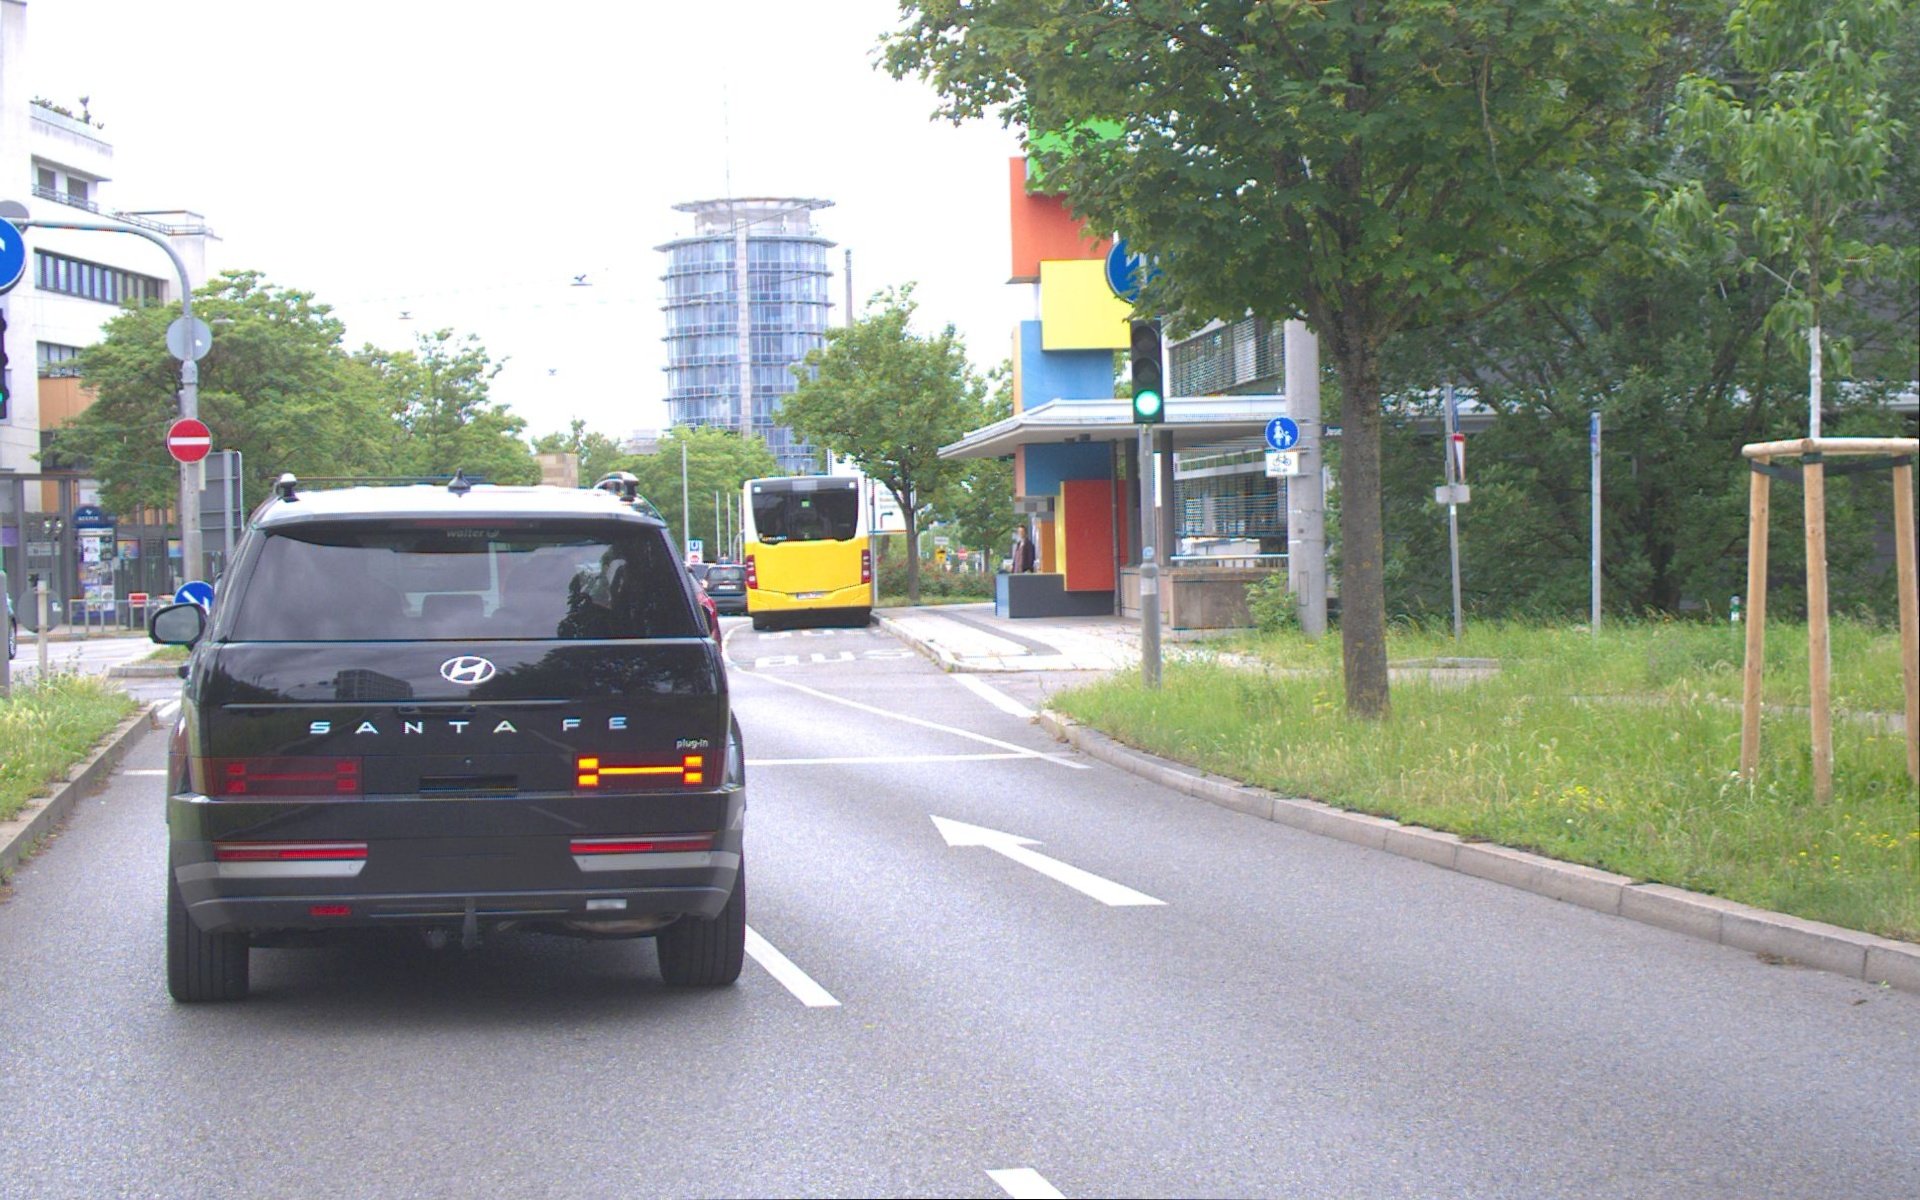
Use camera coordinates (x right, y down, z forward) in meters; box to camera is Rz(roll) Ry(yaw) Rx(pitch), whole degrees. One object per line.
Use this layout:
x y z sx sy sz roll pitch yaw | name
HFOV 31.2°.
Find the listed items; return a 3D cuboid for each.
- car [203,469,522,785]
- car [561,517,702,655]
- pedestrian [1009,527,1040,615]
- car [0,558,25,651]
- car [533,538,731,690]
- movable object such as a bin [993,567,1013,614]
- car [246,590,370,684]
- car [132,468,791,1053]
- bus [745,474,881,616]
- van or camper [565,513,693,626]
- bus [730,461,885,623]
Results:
-4.236 0.109 23.830 1.901 1.962 4.637 0 1 -13 | car
-4.703 -0.248 48.875 1.902 1.852 4.710 0 1 -6 | car
1.244 -0.561 66.496 0.524 1.667 0.733 -1 0 -3 | pedestrian
-15.838 0.095 53.145 1.798 1.450 4.613 -1 1 -4 | car
-3.712 0.106 38.213 1.901 1.537 4.711 0 1 -9 | car
0.823 -0.177 65.852 0.356 0.894 0.462 -1 0 -3 | movable object such as a bin
-10.891 0.596 57.670 1.872 1.413 4.444 0 1 -9 | car
-2.000 0.417 12.516 1.901 1.725 4.448 0 1 -14 | car
-3.475 -1.296 82.808 2.952 3.101 9.977 -2 1 -2 | bus
-6.036 -0.591 62.319 1.993 1.911 4.410 -1 2 -9 | van or camper
-3.186 -1.205 73.298 2.966 3.106 9.244 -2 1 -2 | bus
